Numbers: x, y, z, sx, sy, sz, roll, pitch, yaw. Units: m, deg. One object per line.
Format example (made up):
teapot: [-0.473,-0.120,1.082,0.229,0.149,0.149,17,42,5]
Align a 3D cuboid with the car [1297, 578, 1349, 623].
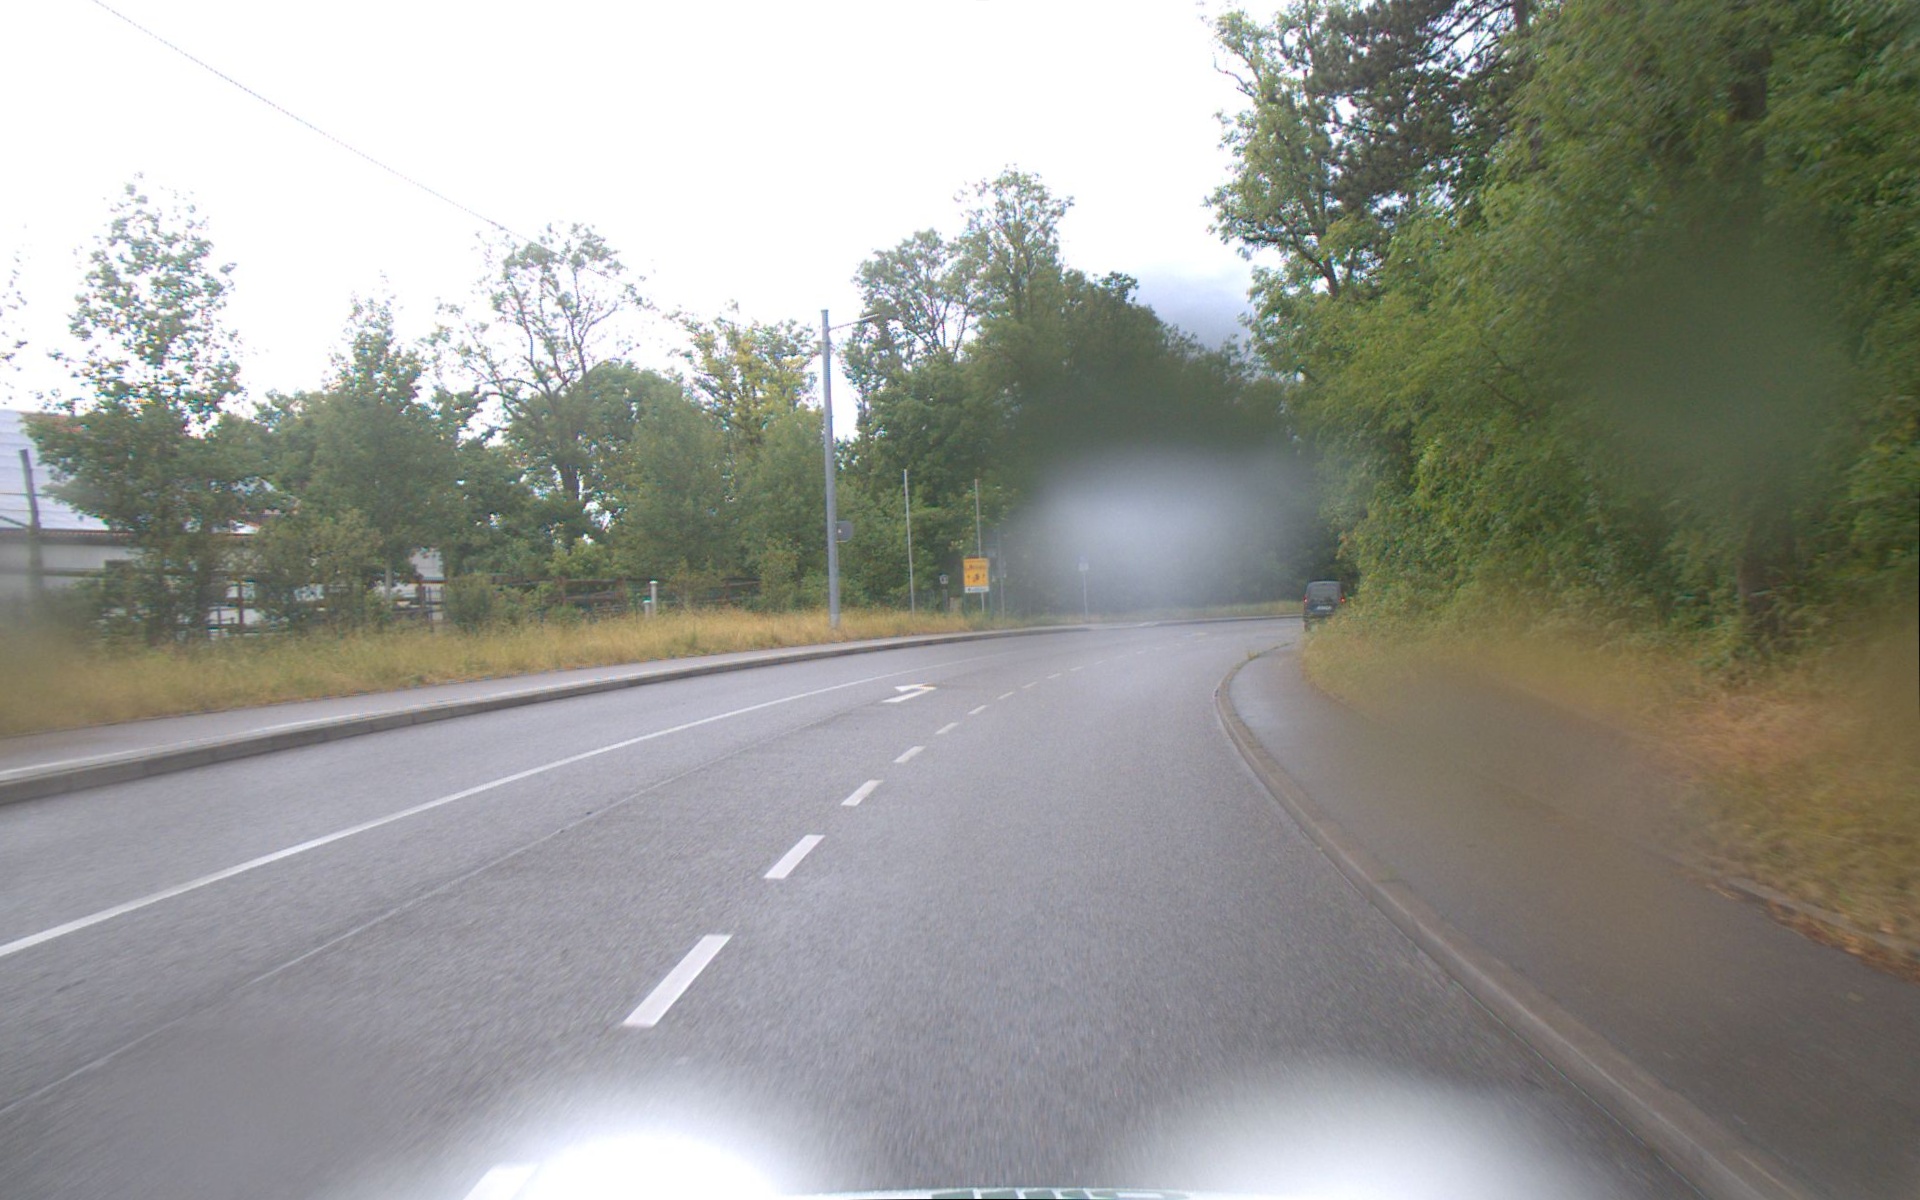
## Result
car: [13.604,0.012,61.913,1.632,1.621,3.685,0,0,17]
